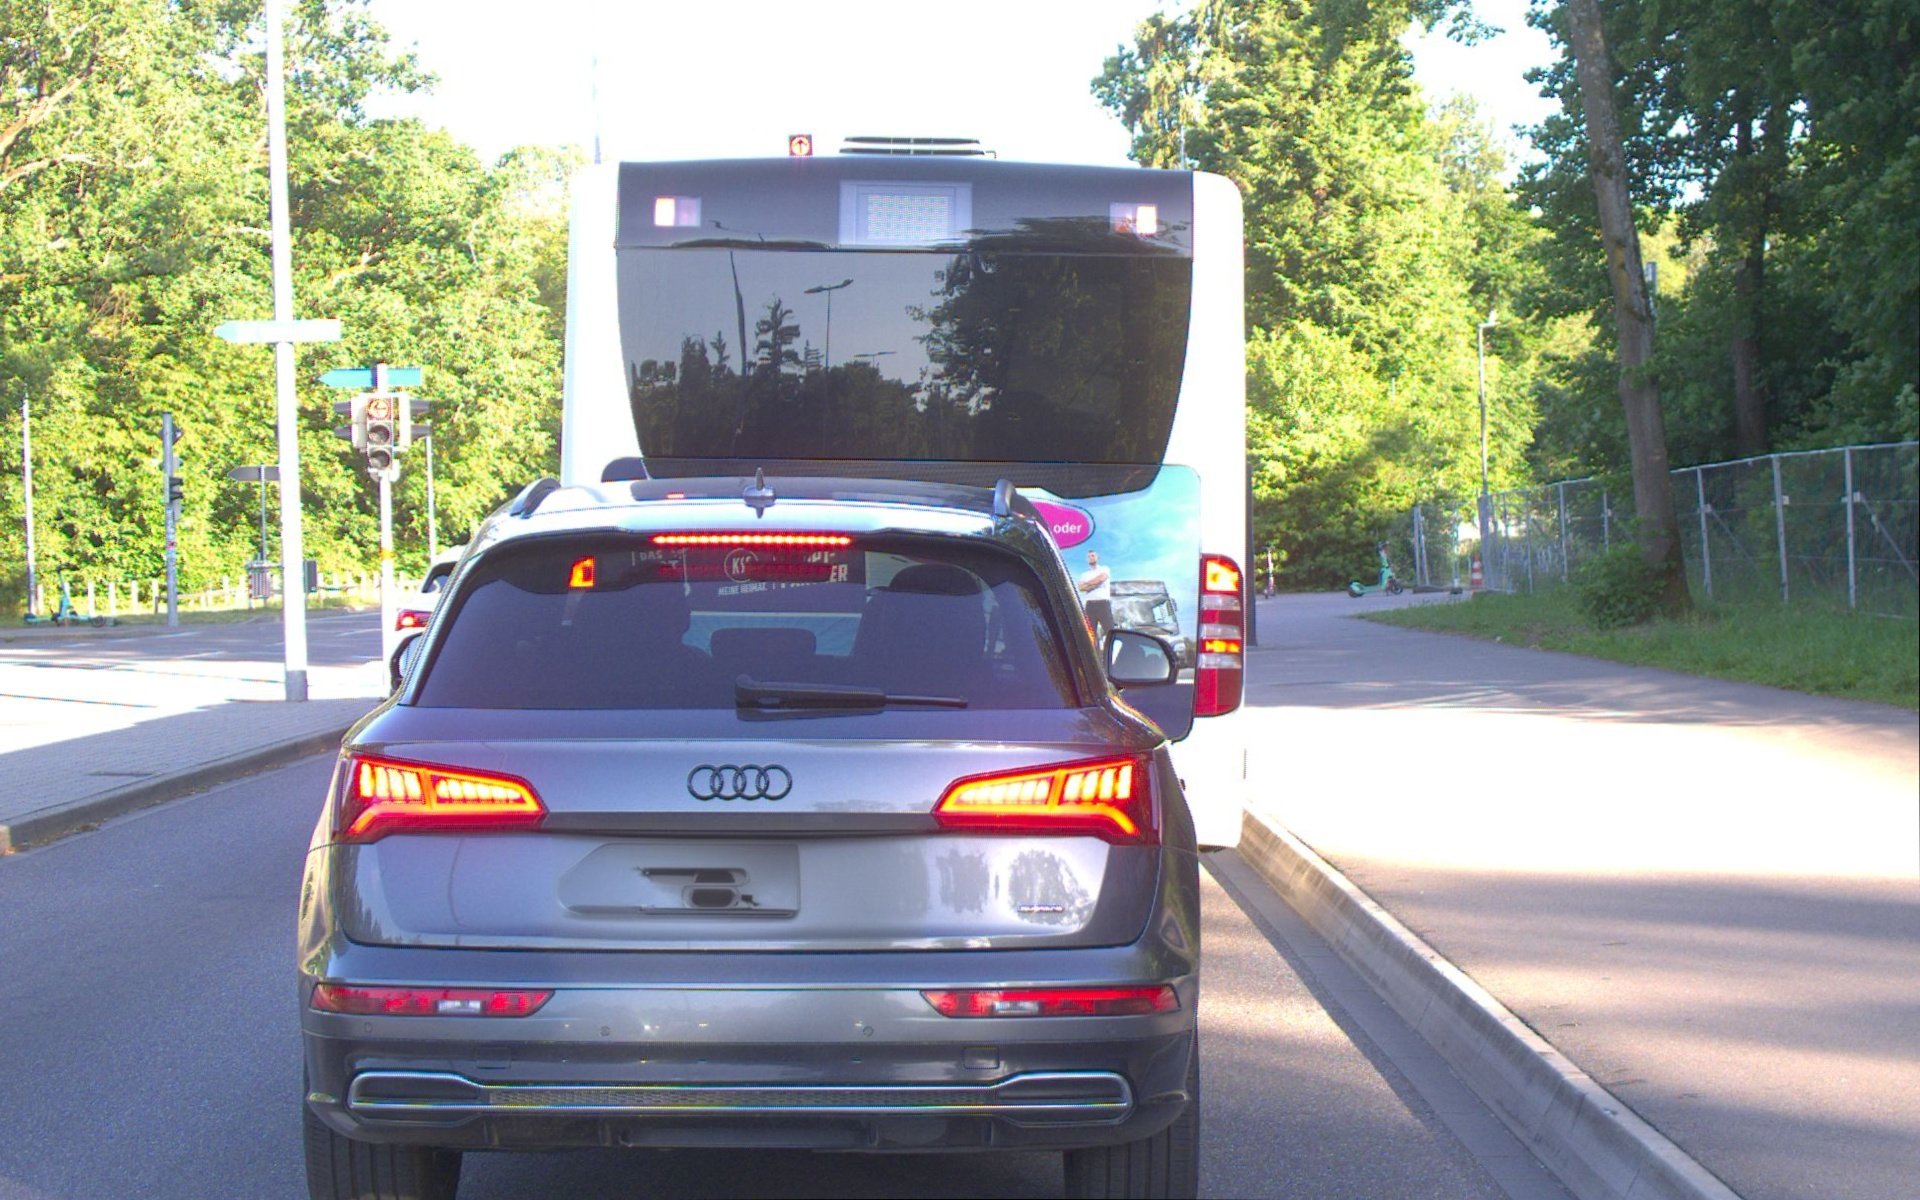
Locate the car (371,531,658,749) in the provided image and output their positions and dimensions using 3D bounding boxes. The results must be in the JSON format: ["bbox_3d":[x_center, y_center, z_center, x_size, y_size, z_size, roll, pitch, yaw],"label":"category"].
[{"bbox_3d":[-3.484,0.256,27.537,1.808,1.567,4.000,1,2,-1],"label":"car"}]

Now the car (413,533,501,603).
[{"bbox_3d":[-12.666,-0.826,86.764,1.993,1.656,4.001,-2,1,-6],"label":"car"}]

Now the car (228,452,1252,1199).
[{"bbox_3d":[-0.430,0.514,8.330,1.868,1.658,4.000,1,2,-1],"label":"car"}]

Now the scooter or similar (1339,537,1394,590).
[{"bbox_3d":[9.233,-0.835,78.009,1.184,1.170,0.659,1,1,11],"label":"scooter or similar"}]

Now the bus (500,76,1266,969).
[{"bbox_3d":[-0.247,-0.355,15.141,2.678,3.131,5.882,1,2,1],"label":"bus"}]
